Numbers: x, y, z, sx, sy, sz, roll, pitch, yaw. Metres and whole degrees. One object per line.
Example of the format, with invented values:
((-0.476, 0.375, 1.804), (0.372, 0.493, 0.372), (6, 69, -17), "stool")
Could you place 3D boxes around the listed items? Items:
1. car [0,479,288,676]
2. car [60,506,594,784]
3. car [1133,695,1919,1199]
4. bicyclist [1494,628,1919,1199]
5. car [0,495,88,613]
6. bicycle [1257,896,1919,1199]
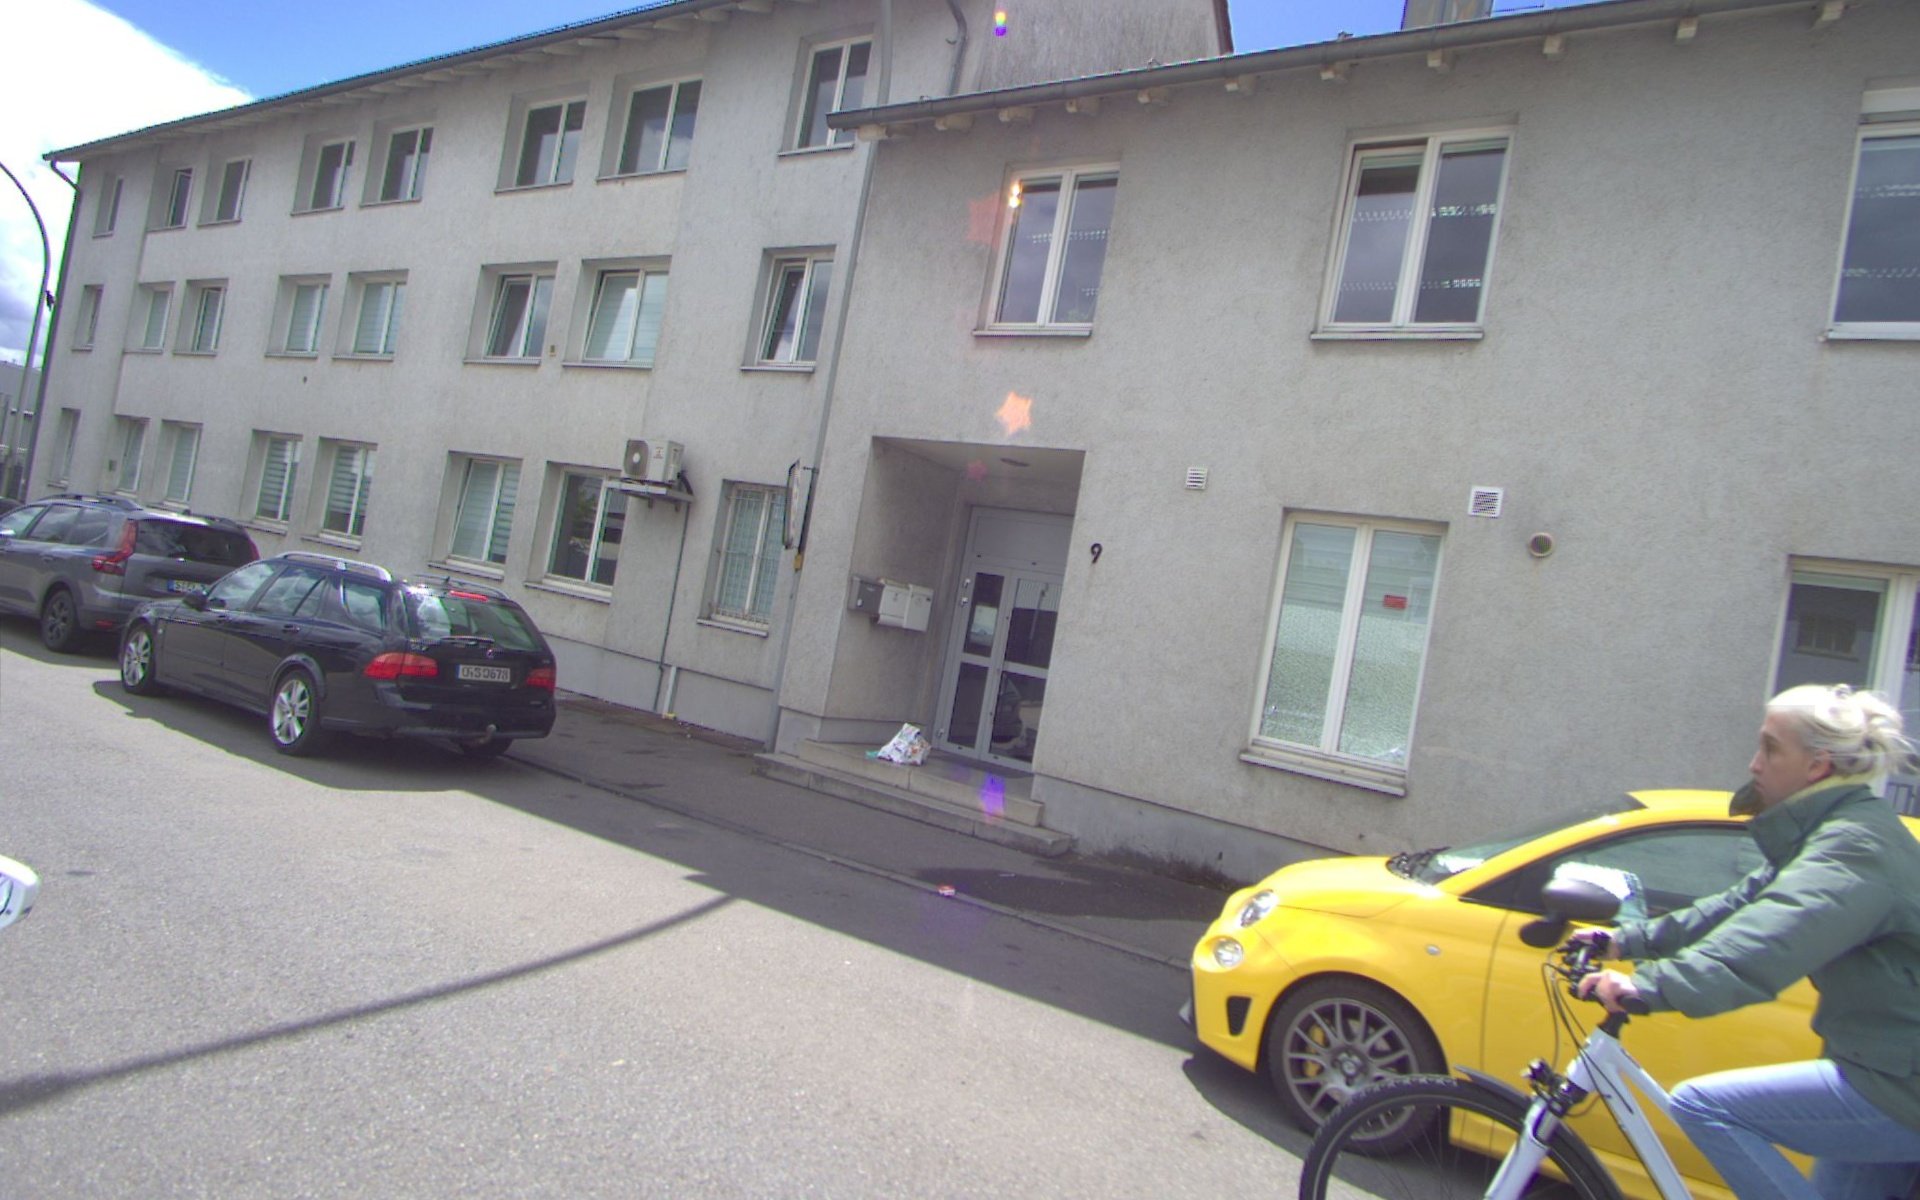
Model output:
((-10.278, -0.384, 11.853), (4.712, 1.655, 1.684), (9, -3, 28), "car")
((-5.723, 0.315, 8.890), (5.001, 1.525, 1.711), (9, -4, 30), "car")
((2.759, 1.388, 3.693), (3.728, 1.463, 1.596), (7, -3, 32), "car")
((1.548, 0.942, 2.043), (0.719, 1.644, 0.742), (6, -2, 29), "bicyclist")
((-14.831, -0.938, 14.577), (4.778, 1.439, 1.740), (9, -3, 30), "car")
((1.535, 1.352, 2.009), (1.702, 0.986, 0.742), (7, -2, 29), "bicycle")
